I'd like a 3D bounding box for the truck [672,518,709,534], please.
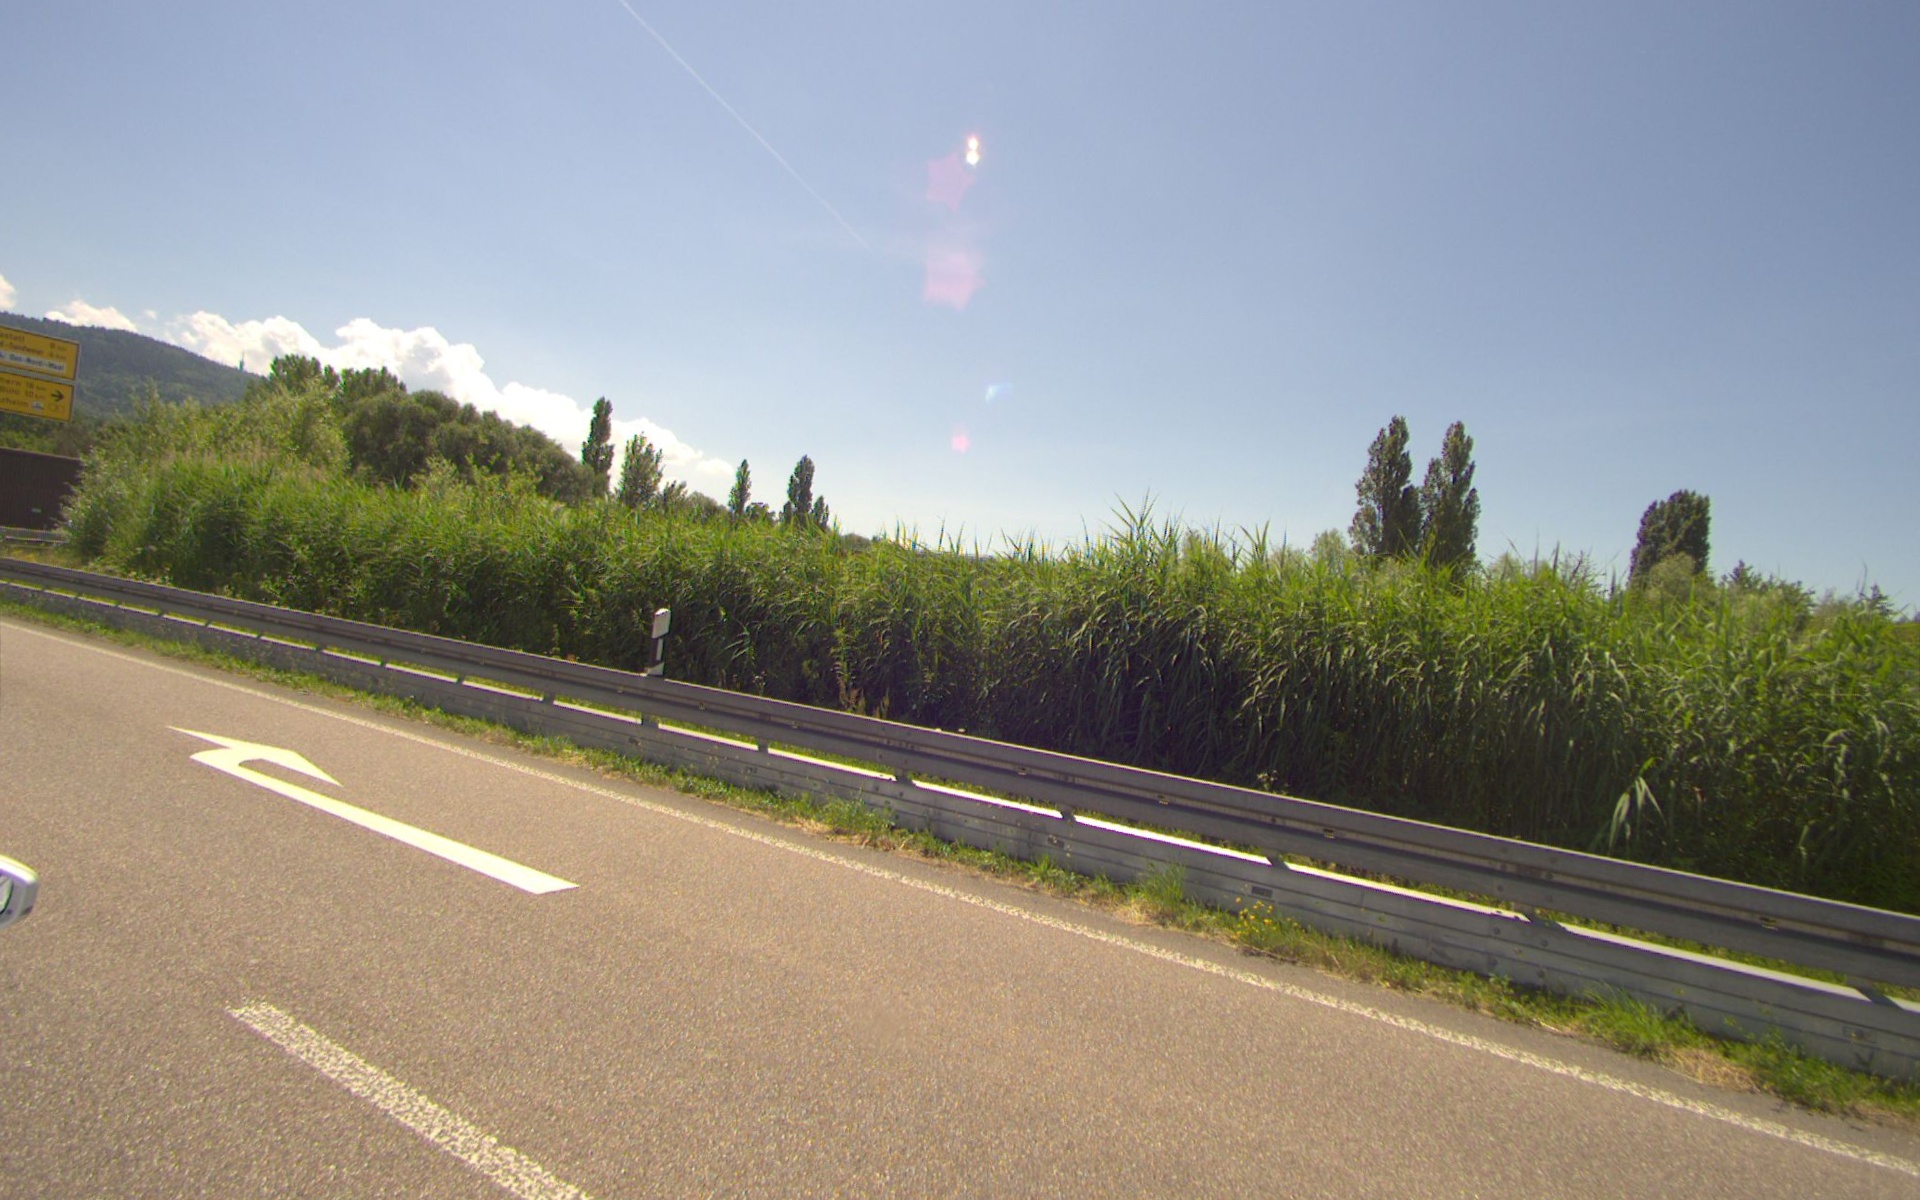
[{"bbox_3d":[-48.559,-13.317,181.067,6.806,2.037,2.347,6,-1,32],"label":"truck"}]
